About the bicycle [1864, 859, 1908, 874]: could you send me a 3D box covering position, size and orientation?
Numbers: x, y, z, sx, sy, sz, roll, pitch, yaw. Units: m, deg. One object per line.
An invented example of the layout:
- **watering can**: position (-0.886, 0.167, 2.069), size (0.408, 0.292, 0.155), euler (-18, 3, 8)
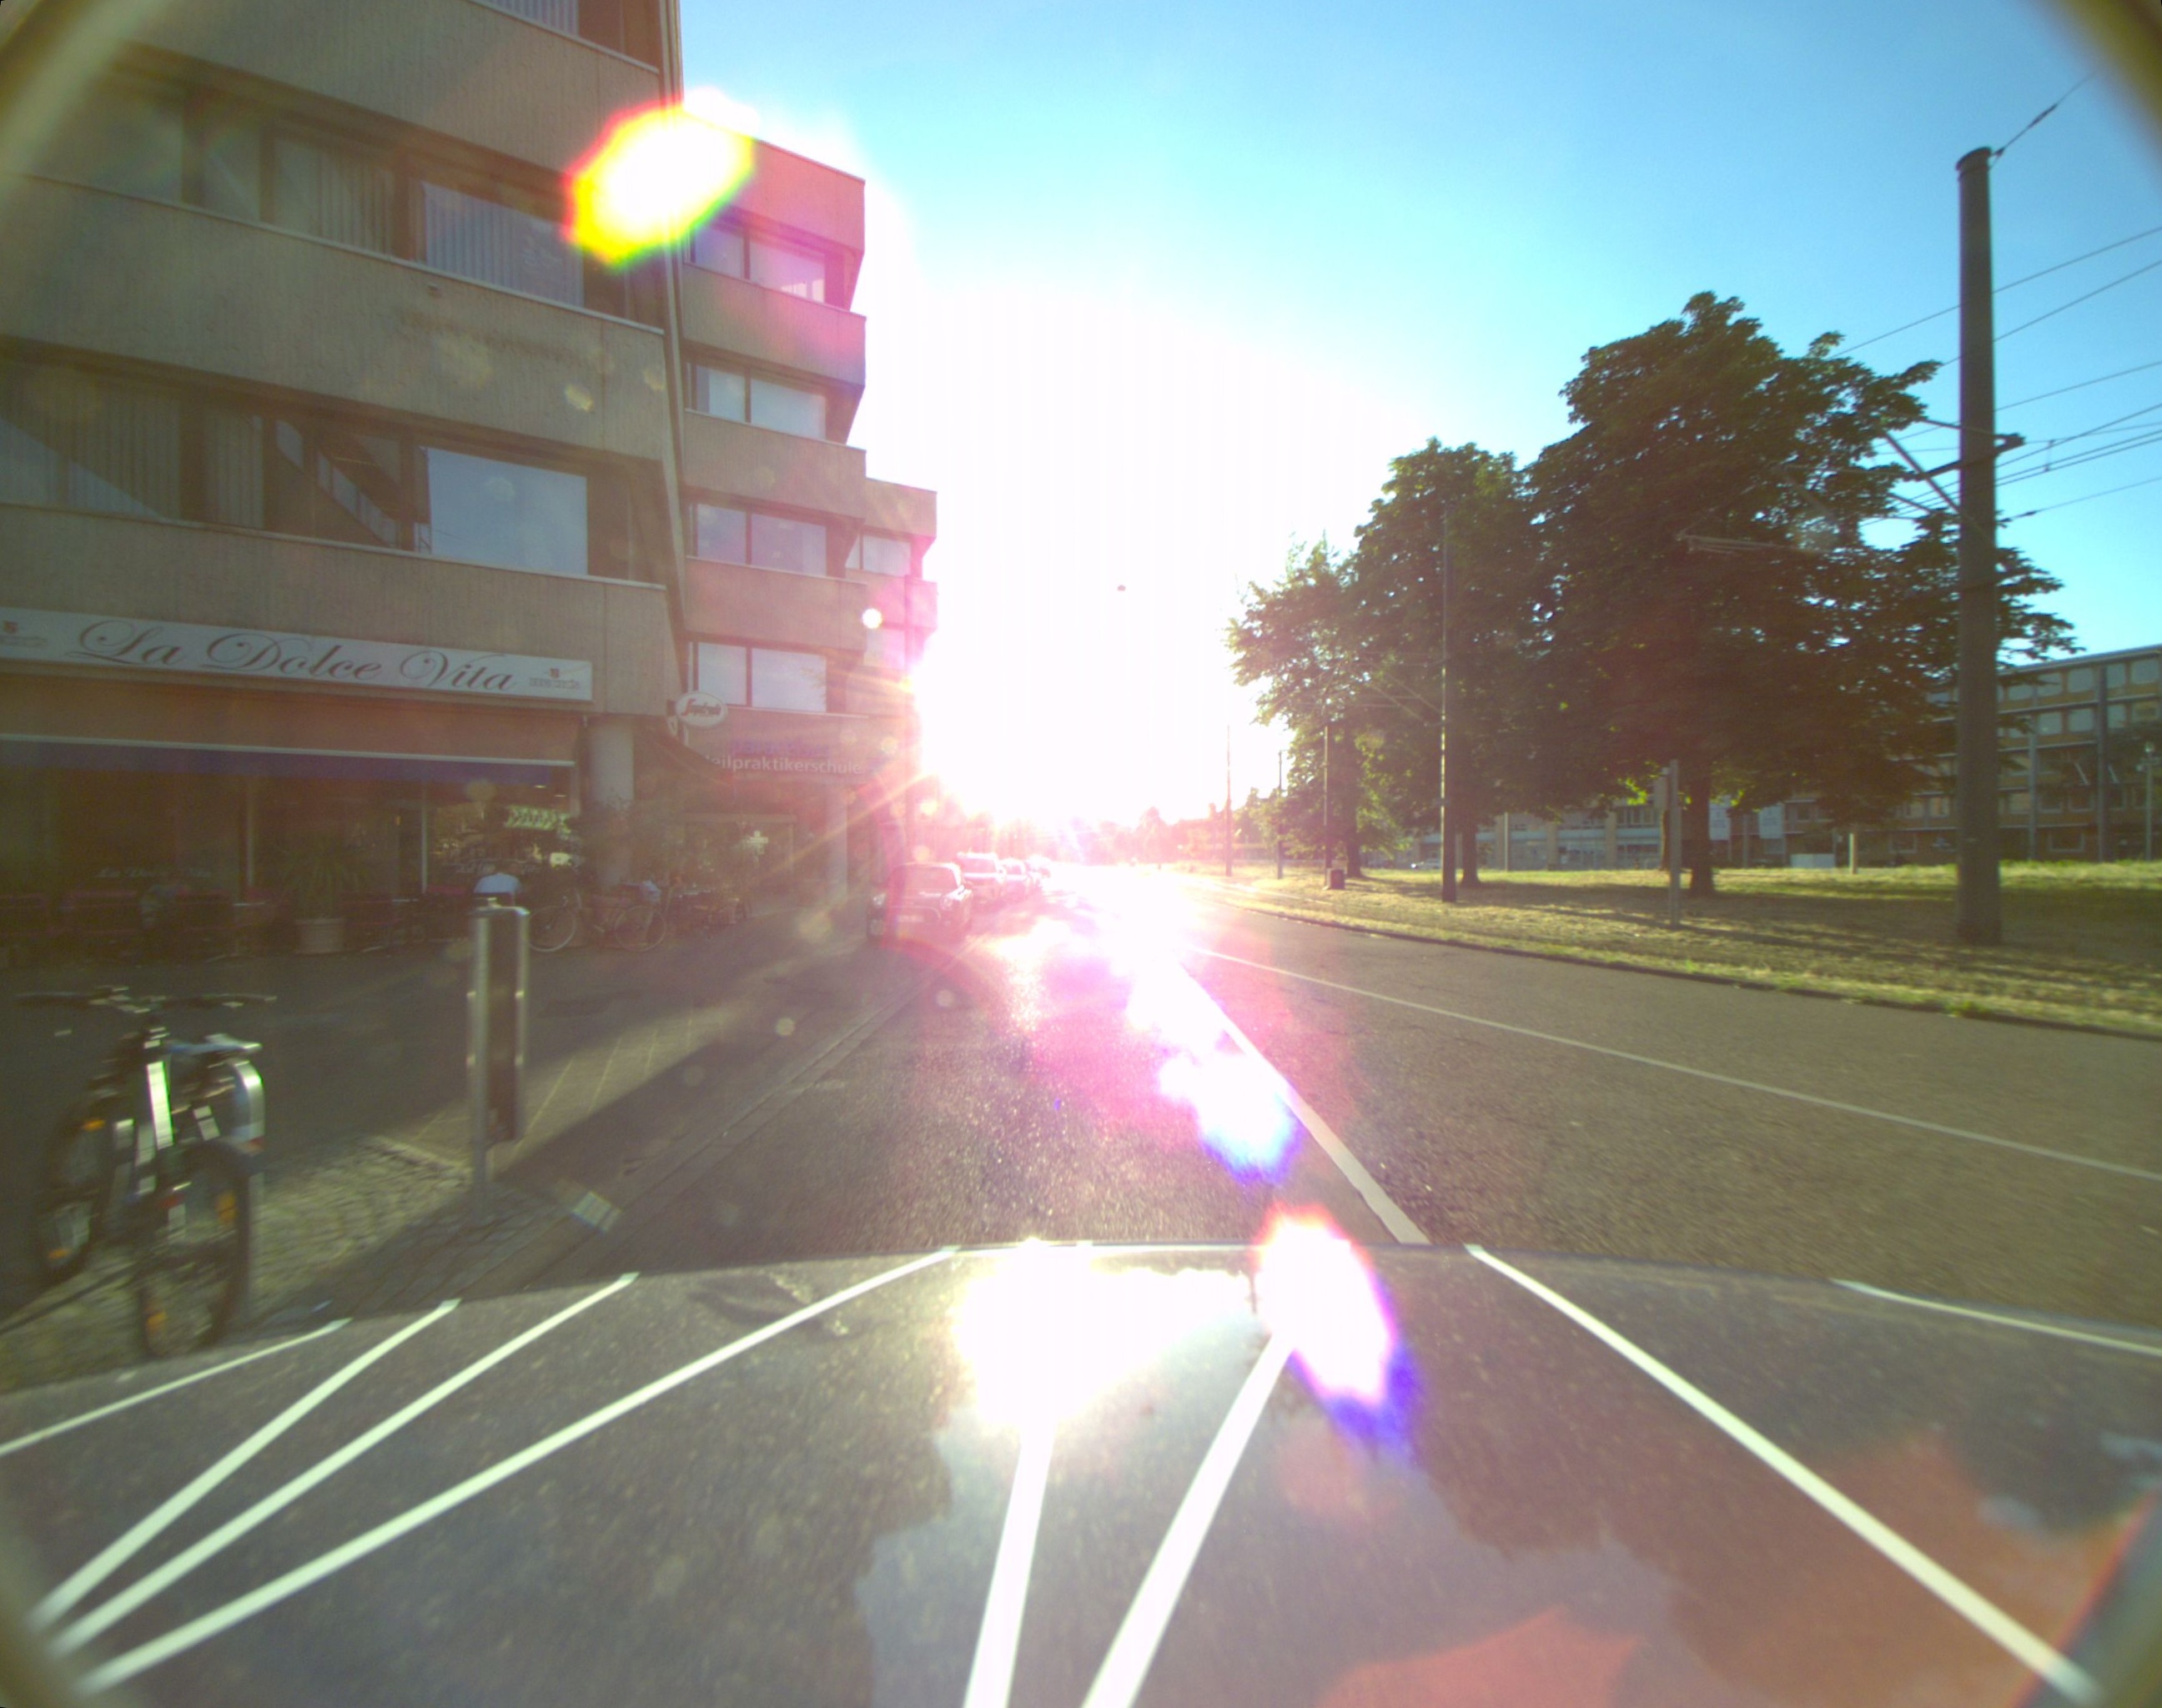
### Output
- **bicycle**: position (59.875, 0.936, 56.542), size (2.195, 1.005, 0.473), euler (-3, -1, 44)

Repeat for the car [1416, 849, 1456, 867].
- **car**: position (42.251, 0.488, 90.405), size (1.858, 2.002, 3.902), euler (-2, 0, -30)

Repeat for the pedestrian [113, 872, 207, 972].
- **pedestrian**: position (-11.831, 0.846, 9.780), size (0.559, 1.232, 0.613), euler (0, -1, -25)

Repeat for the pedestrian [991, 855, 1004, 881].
- **pedestrian**: position (-5.771, 0.957, 52.689), size (0.641, 1.775, 0.855), euler (-2, 0, -23)

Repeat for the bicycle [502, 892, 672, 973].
- **bicycle**: position (-6.725, 1.035, 10.409), size (1.896, 0.999, 0.457), euler (2, 0, -38)

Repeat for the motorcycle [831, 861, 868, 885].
- **motorcycle**: position (-12.410, 1.004, 40.761), size (1.793, 1.285, 0.670), euler (0, 0, 16)

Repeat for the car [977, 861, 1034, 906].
- **car**: position (-2.770, 1.036, 28.541), size (1.645, 1.519, 4.000), euler (-2, 0, 1)

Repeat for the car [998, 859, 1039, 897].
- **car**: position (-2.814, 1.050, 34.746), size (1.589, 1.581, 3.667), euler (-2, 0, -1)

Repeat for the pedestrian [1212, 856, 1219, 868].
- **pedestrian**: position (15.511, 0.925, 87.638), size (0.672, 1.450, 0.699), euler (-2, 0, -4)

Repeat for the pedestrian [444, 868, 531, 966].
- **pedestrian**: position (-8.081, 0.843, 10.375), size (0.642, 1.288, 0.706), euler (1, 0, -9)

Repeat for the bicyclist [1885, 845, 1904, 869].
- **bicyclist**: position (60.165, 0.220, 56.212), size (0.895, 1.681, 0.955), euler (-2, 0, 44)

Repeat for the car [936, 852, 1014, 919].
- **car**: position (-3.118, 0.873, 23.125), size (1.788, 1.794, 4.401), euler (-2, 0, -1)

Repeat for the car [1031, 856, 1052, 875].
- **car**: position (-3.375, 0.941, 65.028), size (1.655, 1.525, 4.066), euler (-2, 0, -1)

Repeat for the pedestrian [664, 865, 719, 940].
- **pedestrian**: position (-7.123, 0.867, 13.877), size (0.764, 1.290, 0.708), euler (-2, 1, -35)

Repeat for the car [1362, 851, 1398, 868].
- **car**: position (38.440, 0.730, 97.824), size (1.914, 2.002, 3.991), euler (-2, 0, -30)

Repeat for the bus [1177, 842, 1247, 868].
- **bus**: position (18.882, 0.193, 110.615), size (3.765, 3.435, 12.109), euler (-2, 0, -24)

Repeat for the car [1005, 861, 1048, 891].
- **car**: position (-2.798, 1.123, 39.772), size (1.789, 1.448, 4.000), euler (-1, 0, 2)

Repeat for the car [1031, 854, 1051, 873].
- **car**: position (-3.693, 0.875, 70.196), size (1.809, 1.660, 4.812), euler (-2, -1, -3)

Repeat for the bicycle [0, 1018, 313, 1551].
- **bicycle**: position (-3.252, 1.188, 2.502), size (1.788, 0.984, 0.543), euler (1, -1, 30)

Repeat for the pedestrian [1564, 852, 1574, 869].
- **pedestrian**: position (51.000, 0.683, 79.402), size (0.532, 1.682, 0.617), euler (-2, 0, -17)

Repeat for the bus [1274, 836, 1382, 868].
- **bus**: position (28.549, -0.158, 88.999), size (3.765, 3.342, 13.688), euler (-2, 0, -23)

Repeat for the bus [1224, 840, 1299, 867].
- **bus**: position (23.645, 0.015, 100.158), size (3.765, 3.311, 10.716), euler (-2, 0, -25)

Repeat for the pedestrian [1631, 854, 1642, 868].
- **pedestrian**: position (53.665, 0.682, 73.421), size (0.568, 1.316, 0.682), euler (-2, 0, -30)

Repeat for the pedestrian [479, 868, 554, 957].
- **pedestrian**: position (-8.268, 0.846, 11.145), size (0.706, 1.271, 0.537), euler (0, 0, 0)

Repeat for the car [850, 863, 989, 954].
- **car**: position (-3.016, 0.963, 15.019), size (1.794, 1.498, 3.921), euler (-2, 0, 1)

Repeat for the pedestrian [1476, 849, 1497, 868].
- **pedestrian**: position (43.755, 0.504, 81.920), size (1.061, 2.082, 1.630), euler (-2, 0, -25)
